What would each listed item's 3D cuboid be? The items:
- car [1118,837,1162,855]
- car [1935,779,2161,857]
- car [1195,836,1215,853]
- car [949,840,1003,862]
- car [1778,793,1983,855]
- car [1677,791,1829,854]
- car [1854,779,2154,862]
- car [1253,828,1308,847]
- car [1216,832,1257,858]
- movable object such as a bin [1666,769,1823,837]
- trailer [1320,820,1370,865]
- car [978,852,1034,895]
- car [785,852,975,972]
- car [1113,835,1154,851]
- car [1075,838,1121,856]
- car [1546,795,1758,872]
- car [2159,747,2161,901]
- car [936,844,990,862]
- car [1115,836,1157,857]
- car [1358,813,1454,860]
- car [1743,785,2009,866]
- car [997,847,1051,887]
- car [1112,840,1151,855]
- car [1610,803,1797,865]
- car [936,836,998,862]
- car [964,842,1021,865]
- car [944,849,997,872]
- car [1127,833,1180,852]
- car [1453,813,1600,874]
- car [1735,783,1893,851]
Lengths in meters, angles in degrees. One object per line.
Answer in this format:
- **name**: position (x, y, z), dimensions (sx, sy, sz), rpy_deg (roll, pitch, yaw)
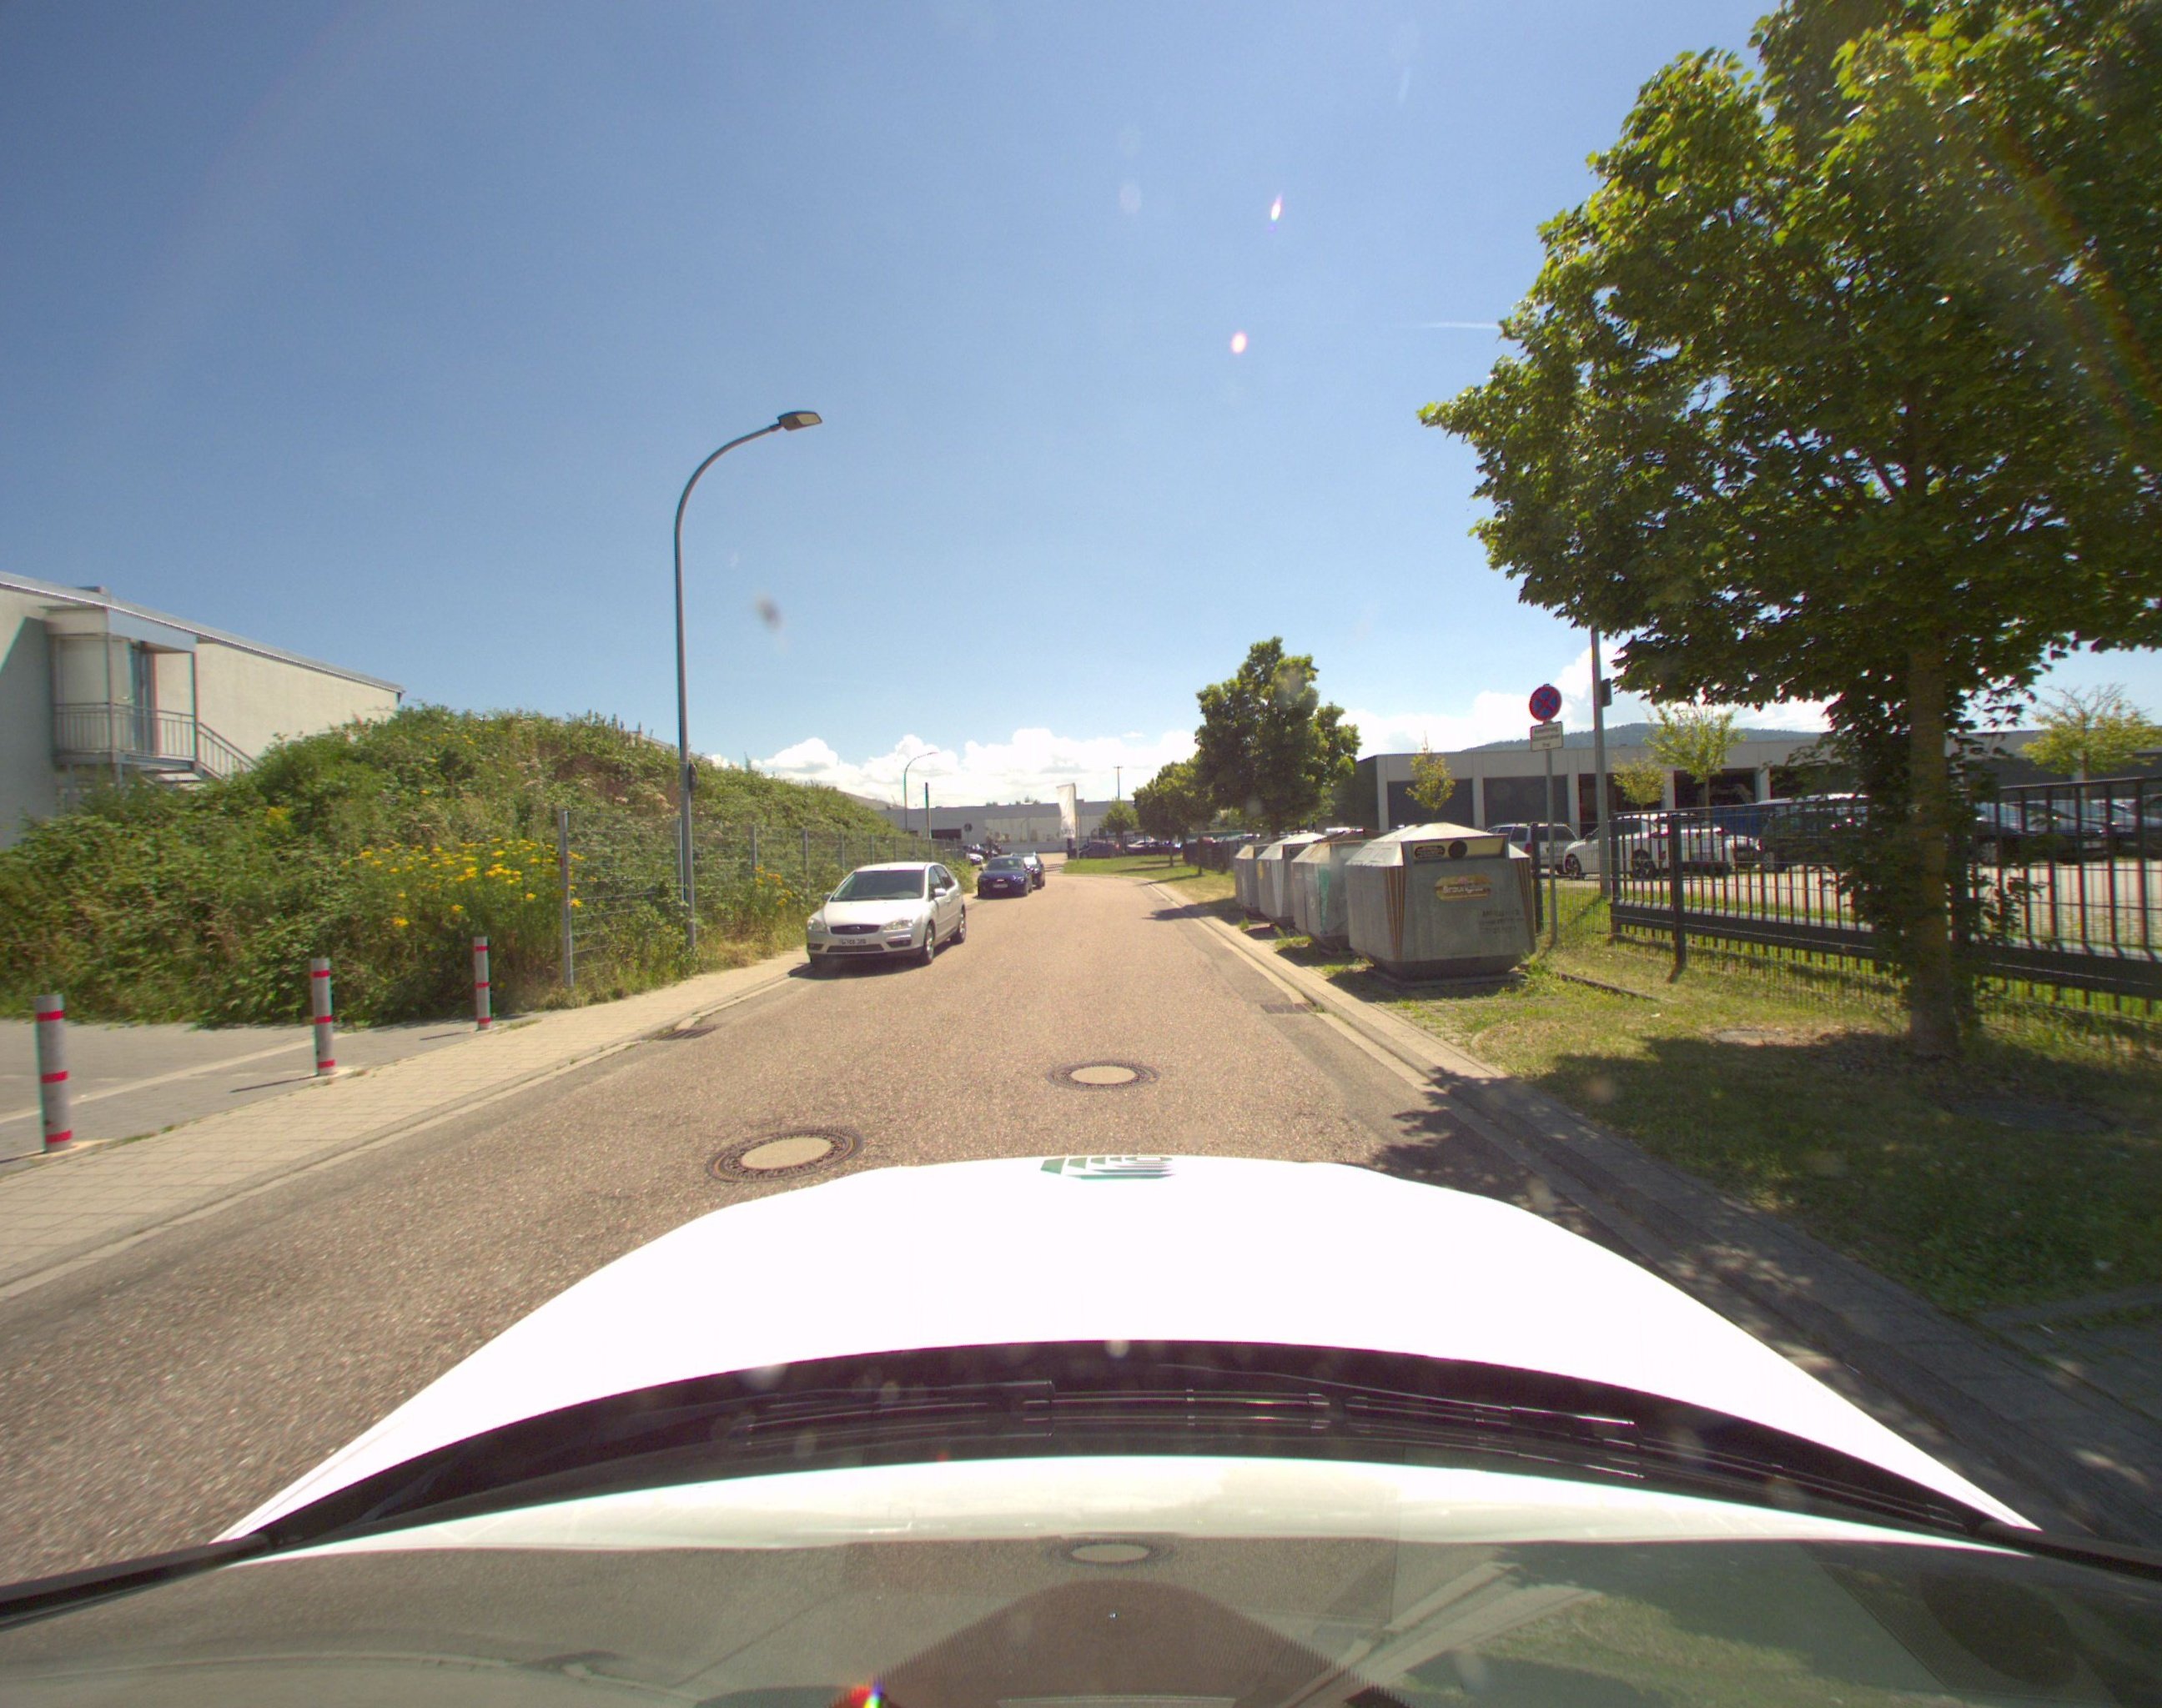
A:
- **car**: position (5.543, -0.741, 77.201), dimensions (3.975, 1.398, 1.999), rpy_deg (-3, -2, -1)
- **car**: position (22.448, -0.747, 18.467), dimensions (1.784, 1.461, 4.098), rpy_deg (-2, -2, -1)
- **car**: position (15.883, -1.198, 104.249), dimensions (1.986, 1.827, 4.001), rpy_deg (-3, -2, 1)
- **car**: position (-10.225, -0.291, 79.425), dimensions (4.867, 1.922, 2.000), rpy_deg (-3, 0, 0)
- **car**: position (22.696, -0.789, 23.392), dimensions (1.784, 1.461, 4.098), rpy_deg (-2, -2, -1)
- **car**: position (29.605, -1.292, 36.209), dimensions (1.875, 2.263, 5.652), rpy_deg (-3, -2, -1)
- **car**: position (19.689, -0.625, 17.699), dimensions (1.784, 1.461, 4.098), rpy_deg (-2, -2, -1)
- **car**: position (17.683, -1.449, 72.350), dimensions (4.424, 1.398, 1.999), rpy_deg (-3, -2, -1)
- **car**: position (9.752, -0.564, 51.363), dimensions (1.731, 1.522, 3.893), rpy_deg (-3, 1, -1)
- **movable object such as a bin**: position (44.731, -3.291, 55.434), dimensions (3.529, 3.974, 8.666), rpy_deg (-3, 1, 0)
- **trailer**: position (12.828, -0.593, 39.684), dimensions (1.487, 2.006, 3.267), rpy_deg (-3, 3, 3)
- **car**: position (-2.735, 0.680, 30.466), dimensions (1.651, 1.417, 4.145), rpy_deg (-3, 0, 0)
- **car**: position (-3.034, 0.794, 13.335), dimensions (1.827, 1.546, 4.369), rpy_deg (-3, 0, 2)
- **car**: position (5.304, -1.144, 82.744), dimensions (3.975, 1.398, 1.999), rpy_deg (-3, -2, -1)
- **car**: position (1.485, -0.603, 72.564), dimensions (3.975, 1.398, 1.999), rpy_deg (-3, -2, -1)
- **car**: position (12.580, -0.363, 18.333), dimensions (1.784, 1.433, 4.141), rpy_deg (-2, -2, -1)
- **car**: position (12.235, -0.270, 6.459), dimensions (1.784, 1.622, 4.241), rpy_deg (-2, 2, -1)
- **car**: position (-10.409, -0.086, 72.025), dimensions (4.424, 1.398, 1.999), rpy_deg (-3, -2, -1)
- **car**: position (5.416, -0.703, 80.604), dimensions (3.975, 1.827, 1.999), rpy_deg (-2, -2, -1)
- **car**: position (12.847, -0.649, 32.511), dimensions (1.875, 1.523, 4.465), rpy_deg (-3, -2, -1)
- **car**: position (17.244, -0.529, 18.003), dimensions (1.784, 1.461, 4.098), rpy_deg (-2, -2, -1)
- **car**: position (-2.425, 0.521, 35.524), dimensions (1.827, 1.546, 4.266), rpy_deg (-3, 0, 2)
- **car**: position (5.318, -0.691, 86.191), dimensions (3.975, 1.398, 1.999), rpy_deg (-3, -2, -1)
- **car**: position (17.096, -0.571, 22.685), dimensions (1.784, 1.481, 4.421), rpy_deg (-2, 2, -1)
- **car**: position (-10.376, -0.485, 74.547), dimensions (5.300, 2.097, 2.000), rpy_deg (-3, 0, 0)
- **car**: position (-7.214, -0.011, 66.803), dimensions (4.424, 1.626, 1.999), rpy_deg (-3, -2, -1)
- **car**: position (-10.379, 0.568, 76.729), dimensions (4.571, 1.922, 2.000), rpy_deg (-3, 0, 0)
- **car**: position (6.417, -1.037, 72.484), dimensions (4.424, 1.398, 1.999), rpy_deg (-3, -2, -1)
- **car**: position (12.678, -0.352, 23.537), dimensions (1.784, 1.531, 4.421), rpy_deg (-2, 2, -1)
- **car**: position (32.532, -1.554, 36.454), dimensions (1.875, 2.478, 5.501), rpy_deg (-3, -2, -1)
